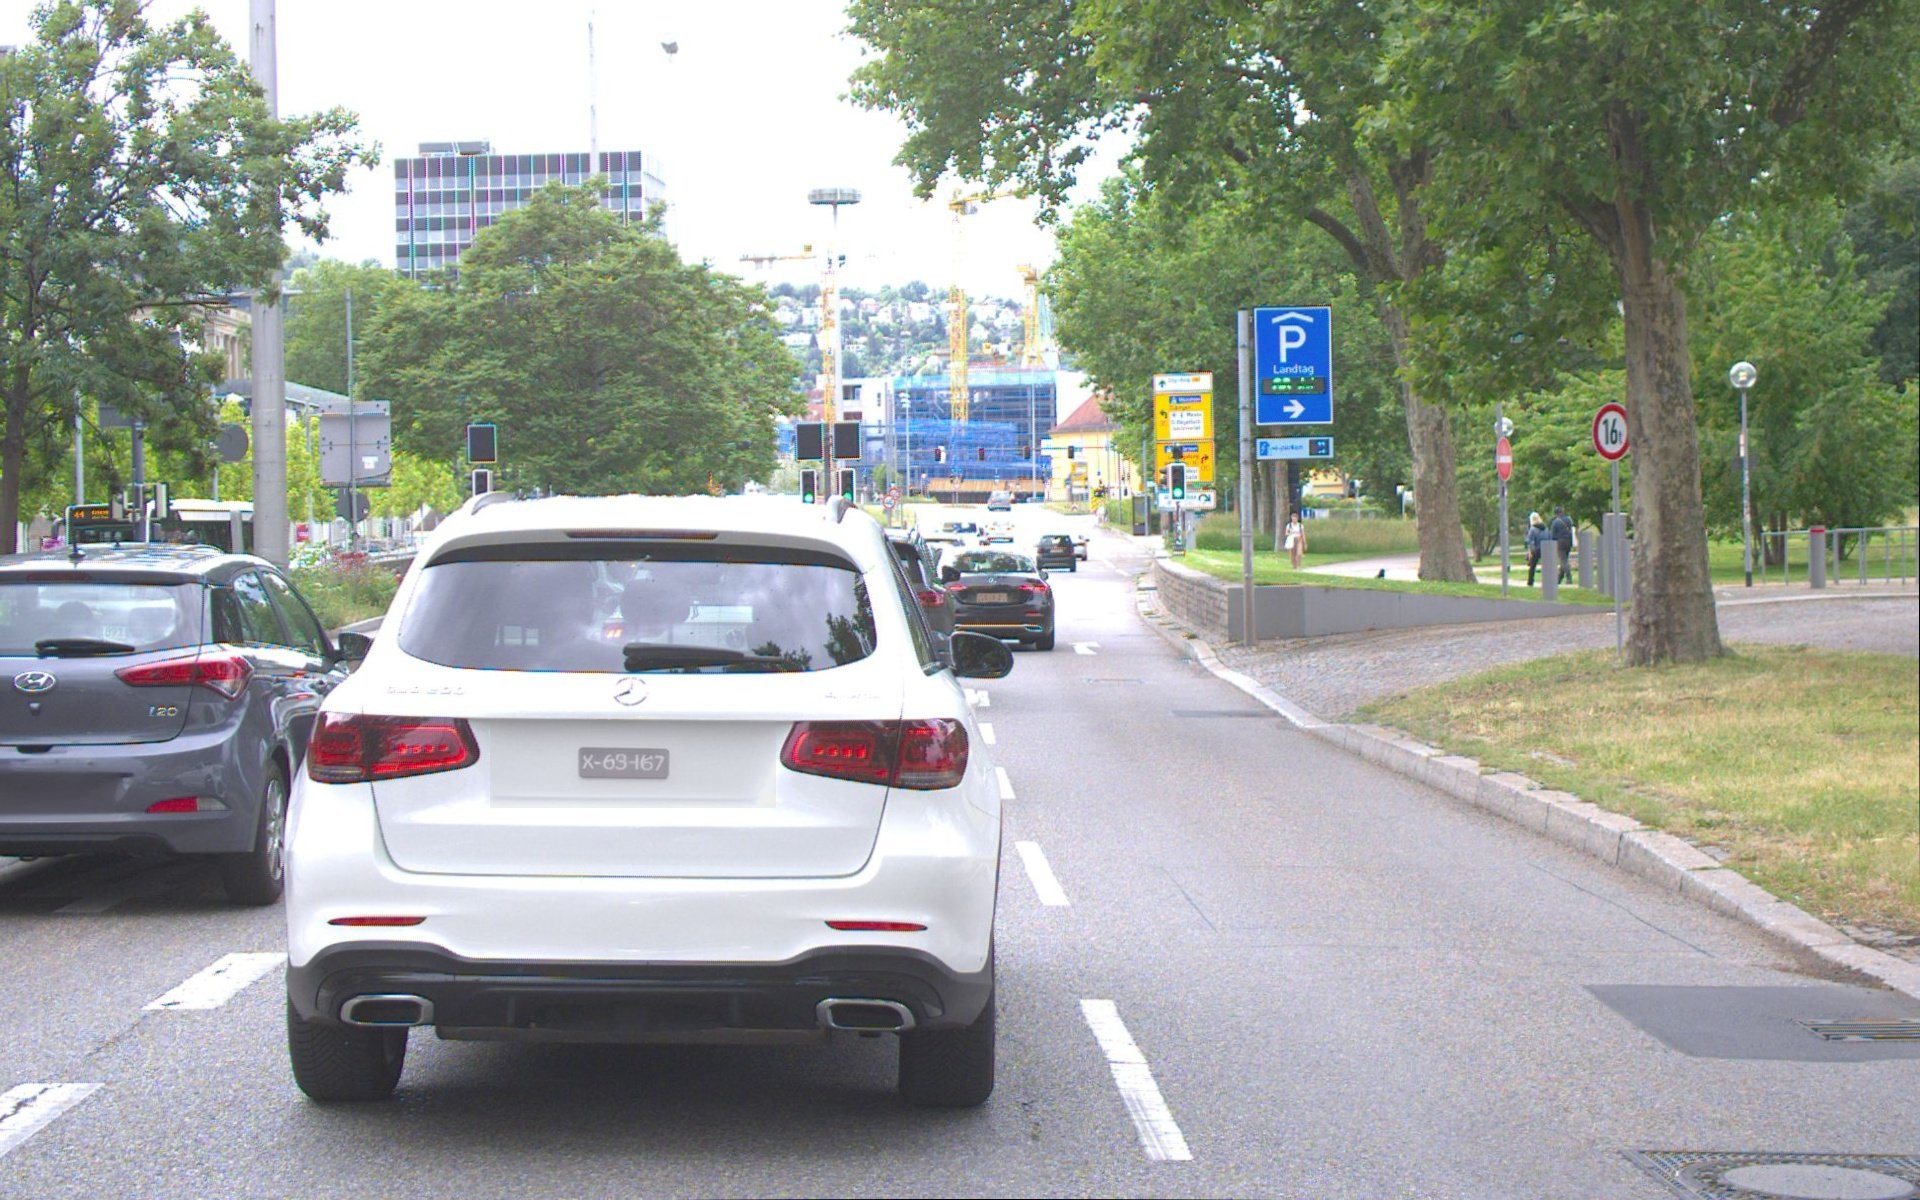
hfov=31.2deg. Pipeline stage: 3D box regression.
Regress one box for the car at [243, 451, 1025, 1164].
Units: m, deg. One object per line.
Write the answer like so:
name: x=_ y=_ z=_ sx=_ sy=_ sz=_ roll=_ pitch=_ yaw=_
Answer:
car: x=-0.753 y=0.459 z=10.368 sx=1.788 sy=1.619 sz=4.437 roll=-2 pitch=1 yaw=1

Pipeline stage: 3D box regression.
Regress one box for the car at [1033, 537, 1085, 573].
car: x=3.912 y=-1.780 z=136.363 sx=1.947 sy=1.423 sz=4.017 roll=0 pitch=1 yaw=0

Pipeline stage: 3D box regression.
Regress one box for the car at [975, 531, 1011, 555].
car: x=1.821 y=-3.130 z=190.503 sx=1.947 sy=1.315 sz=4.017 roll=0 pitch=1 yaw=0

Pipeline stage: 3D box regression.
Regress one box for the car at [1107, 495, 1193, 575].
car: x=4.838 y=-1.654 z=88.151 sx=1.993 sy=2.007 sz=4.000 roll=0 pitch=1 yaw=0

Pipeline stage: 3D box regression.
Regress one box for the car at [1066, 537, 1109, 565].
car: x=6.137 y=-2.344 z=165.471 sx=1.947 sy=1.315 sz=4.017 roll=0 pitch=1 yaw=0

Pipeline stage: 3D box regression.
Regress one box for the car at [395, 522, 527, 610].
car: x=-8.466 y=-0.602 z=58.569 sx=1.776 sy=1.415 sz=4.001 roll=-1 pitch=1 yaw=-2

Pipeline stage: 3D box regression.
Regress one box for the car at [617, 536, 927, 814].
car: x=-1.266 y=0.408 z=21.799 sx=1.795 sy=1.603 sz=3.755 roll=0 pitch=1 yaw=-5

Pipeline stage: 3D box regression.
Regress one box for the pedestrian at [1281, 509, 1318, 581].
pedestrian: x=9.457 y=-1.540 z=95.869 sx=0.761 sy=2.007 sz=0.697 roll=0 pitch=1 yaw=35

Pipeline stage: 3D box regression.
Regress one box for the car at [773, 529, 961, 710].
car: x=-0.942 y=0.149 z=33.111 sx=1.659 sy=1.633 sz=3.548 roll=-1 pitch=1 yaw=-4

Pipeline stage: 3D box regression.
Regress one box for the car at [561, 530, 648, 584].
car: x=-8.795 y=-1.073 z=85.300 sx=1.659 sy=1.315 sz=3.547 roll=0 pitch=1 yaw=2

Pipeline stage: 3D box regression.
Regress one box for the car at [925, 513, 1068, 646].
car: x=0.462 y=-0.310 z=47.739 sx=1.825 sy=1.746 sz=4.000 roll=-1 pitch=1 yaw=-1

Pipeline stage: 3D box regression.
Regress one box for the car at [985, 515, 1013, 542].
car: x=2.508 y=-4.620 z=222.038 sx=1.758 sy=1.663 sz=4.168 roll=-1 pitch=1 yaw=-1

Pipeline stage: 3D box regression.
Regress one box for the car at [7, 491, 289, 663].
car: x=-7.161 y=-0.214 z=30.654 sx=1.661 sy=1.431 sz=3.961 roll=0 pitch=1 yaw=-1

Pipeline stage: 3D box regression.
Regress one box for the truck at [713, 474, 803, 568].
truck: x=-6.374 y=-2.486 z=109.123 sx=2.620 sy=2.851 sz=7.079 roll=1 pitch=1 yaw=-2

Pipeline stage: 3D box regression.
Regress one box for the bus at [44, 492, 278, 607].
bus: x=-24.031 y=-1.584 z=104.443 sx=3.667 sy=3.194 sz=14.274 roll=-1 pitch=1 yaw=0

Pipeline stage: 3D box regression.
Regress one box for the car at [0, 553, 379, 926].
car: x=-3.739 y=0.512 z=15.255 sx=1.797 sy=1.432 sz=4.021 roll=0 pitch=1 yaw=-2

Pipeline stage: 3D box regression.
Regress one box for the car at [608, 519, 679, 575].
car: x=-8.815 y=-1.474 z=95.975 sx=1.659 sy=1.508 sz=3.547 roll=-1 pitch=1 yaw=0

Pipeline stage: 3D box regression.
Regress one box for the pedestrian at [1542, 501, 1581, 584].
pedestrian: x=12.577 y=-1.201 z=71.895 sx=0.759 sy=1.719 sz=0.699 roll=-1 pitch=1 yaw=7

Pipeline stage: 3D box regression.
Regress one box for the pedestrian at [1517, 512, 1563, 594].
pedestrian: x=11.481 y=-0.940 z=68.074 sx=0.660 sy=1.605 sz=0.641 roll=-1 pitch=1 yaw=-19

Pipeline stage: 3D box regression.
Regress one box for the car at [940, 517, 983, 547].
car: x=0.073 y=-3.058 z=155.657 sx=1.947 sy=1.315 sz=4.017 roll=0 pitch=1 yaw=0

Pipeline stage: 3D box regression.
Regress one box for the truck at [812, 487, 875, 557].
truck: x=-5.208 y=-3.445 z=153.291 sx=2.691 sy=2.981 sz=5.638 roll=1 pitch=0 yaw=-2

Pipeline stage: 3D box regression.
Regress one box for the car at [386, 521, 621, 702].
car: x=-4.328 y=0.079 z=33.207 sx=1.851 sy=1.622 sz=4.907 roll=0 pitch=1 yaw=-3

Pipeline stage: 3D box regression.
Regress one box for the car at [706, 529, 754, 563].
car: x=-9.044 y=-2.115 z=135.458 sx=1.659 sy=1.315 sz=3.547 roll=0 pitch=1 yaw=0
